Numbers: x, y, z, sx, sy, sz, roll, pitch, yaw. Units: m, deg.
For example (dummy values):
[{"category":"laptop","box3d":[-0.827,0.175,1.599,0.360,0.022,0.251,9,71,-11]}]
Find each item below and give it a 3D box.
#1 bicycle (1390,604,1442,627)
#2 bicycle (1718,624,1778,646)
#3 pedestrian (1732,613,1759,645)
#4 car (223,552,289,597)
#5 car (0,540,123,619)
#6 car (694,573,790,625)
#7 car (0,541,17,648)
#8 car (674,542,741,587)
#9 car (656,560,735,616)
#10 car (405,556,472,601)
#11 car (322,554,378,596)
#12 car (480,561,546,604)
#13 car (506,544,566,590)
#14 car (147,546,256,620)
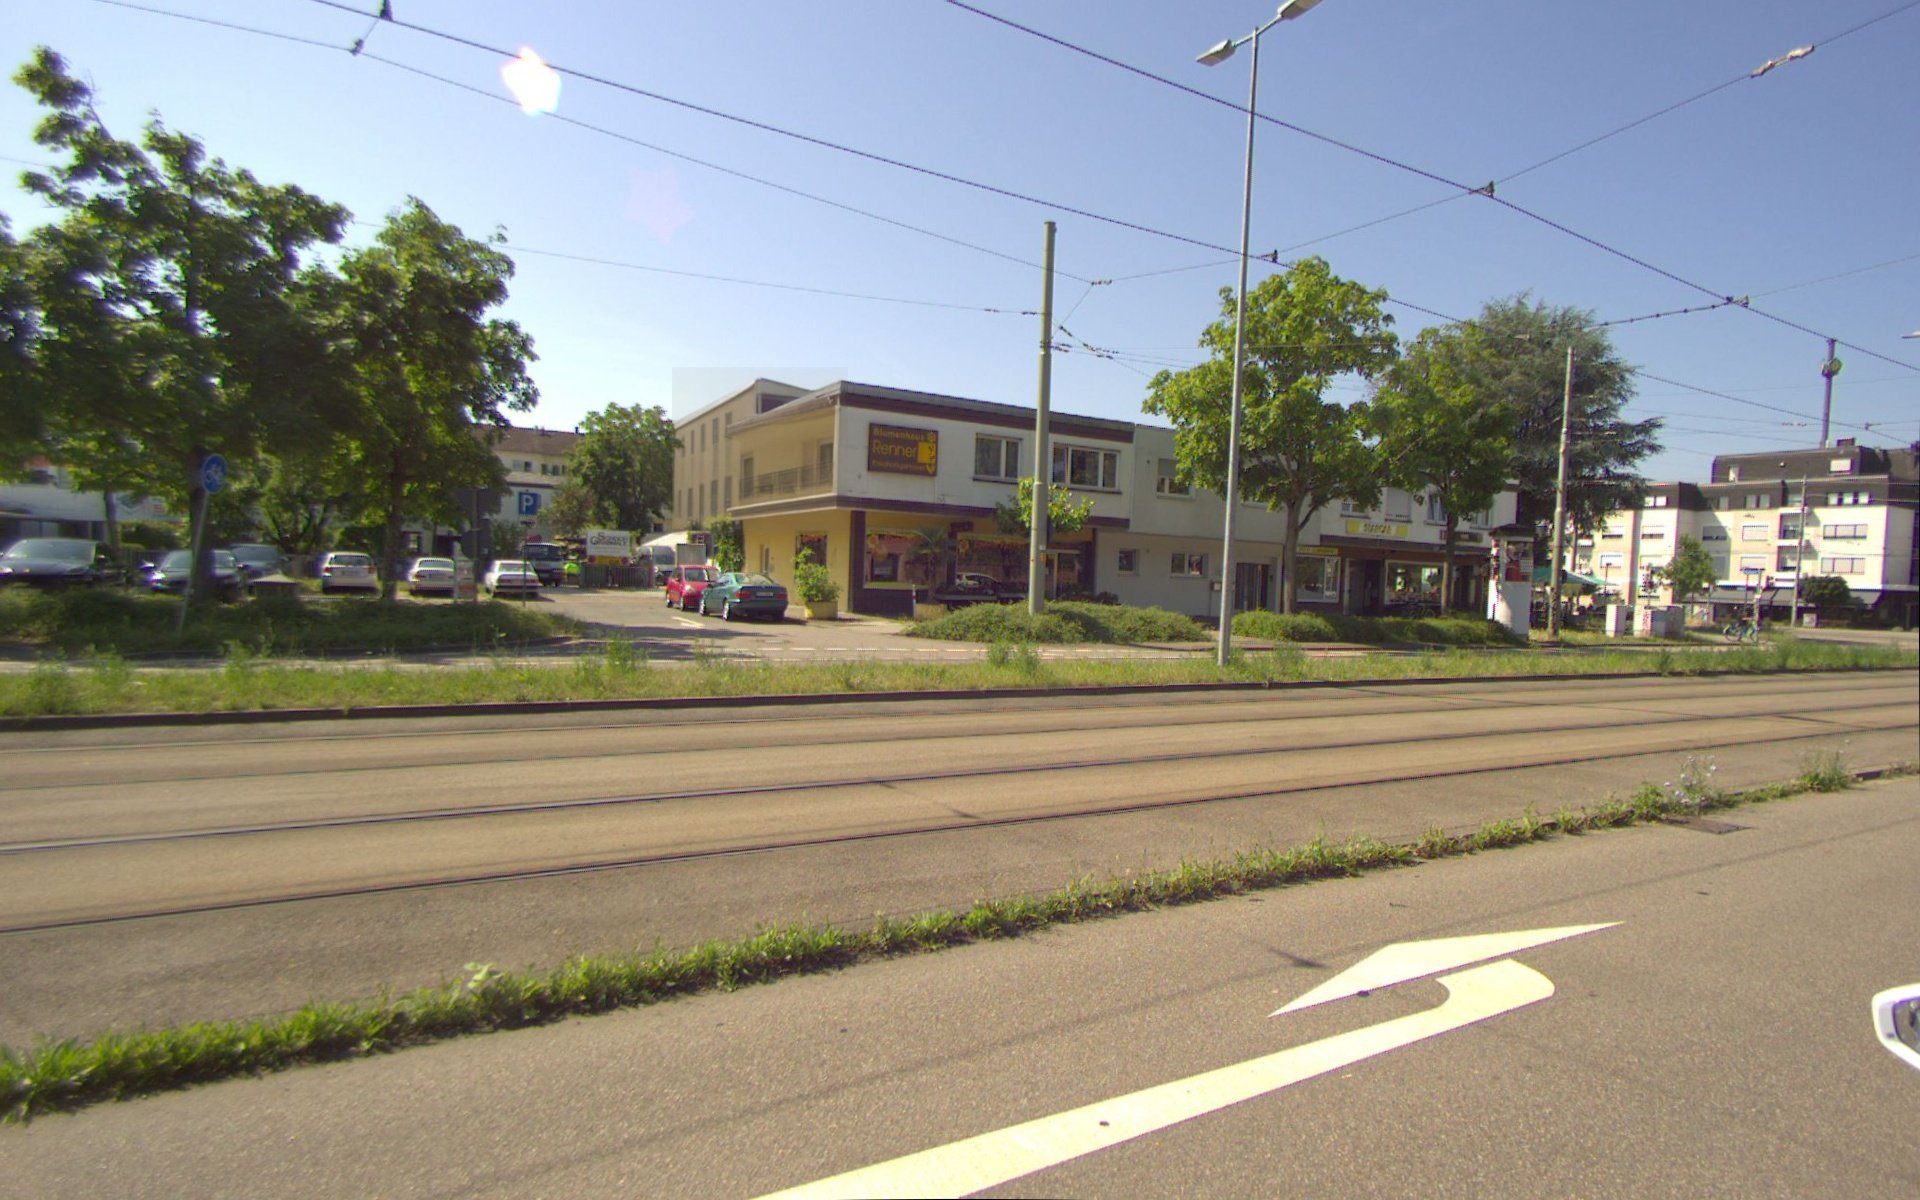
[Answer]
[{"category":"bicycle","box3d":[19.775,0.682,43.538,2.362,0.900,0.779,1,1,-30]},{"category":"bicycle","box3d":[37.292,1.650,47.542,2.134,0.934,0.553,2,1,17]},{"category":"pedestrian","box3d":[37.565,1.378,48.051,0.799,1.507,0.566,2,1,17]},{"category":"car","box3d":[-24.127,-0.890,34.530,1.658,1.444,3.949,1,1,-32]},{"category":"car","box3d":[-20.139,-0.473,22.411,1.645,1.584,3.965,1,1,-32]},{"category":"car","box3d":[-6.514,-0.064,29.699,1.677,1.363,4.129,1,1,-29]},{"category":"car","box3d":[-15.601,-0.101,13.068,4.561,1.510,1.597,1,3,-29]},{"category":"car","box3d":[-13.915,-1.925,55.294,3.373,2.307,1.476,2,1,-20]},{"category":"car","box3d":[-9.139,-0.448,34.495,1.677,1.759,4.129,1,1,-29]},{"category":"car","box3d":[-19.718,-0.835,37.923,1.890,1.554,3.964,1,1,-32]},{"category":"car","box3d":[-22.348,-0.923,36.804,1.657,1.444,3.951,1,1,-31]},{"category":"car","box3d":[-17.288,-0.693,38.750,1.889,1.554,3.966,1,1,-31]},{"category":"car","box3d":[-21.864,-1.693,51.708,2.077,2.203,4.901,1,1,-32]},{"category":"car","box3d":[-17.844,-0.406,23.793,1.645,1.584,3.965,1,1,-32]}]
